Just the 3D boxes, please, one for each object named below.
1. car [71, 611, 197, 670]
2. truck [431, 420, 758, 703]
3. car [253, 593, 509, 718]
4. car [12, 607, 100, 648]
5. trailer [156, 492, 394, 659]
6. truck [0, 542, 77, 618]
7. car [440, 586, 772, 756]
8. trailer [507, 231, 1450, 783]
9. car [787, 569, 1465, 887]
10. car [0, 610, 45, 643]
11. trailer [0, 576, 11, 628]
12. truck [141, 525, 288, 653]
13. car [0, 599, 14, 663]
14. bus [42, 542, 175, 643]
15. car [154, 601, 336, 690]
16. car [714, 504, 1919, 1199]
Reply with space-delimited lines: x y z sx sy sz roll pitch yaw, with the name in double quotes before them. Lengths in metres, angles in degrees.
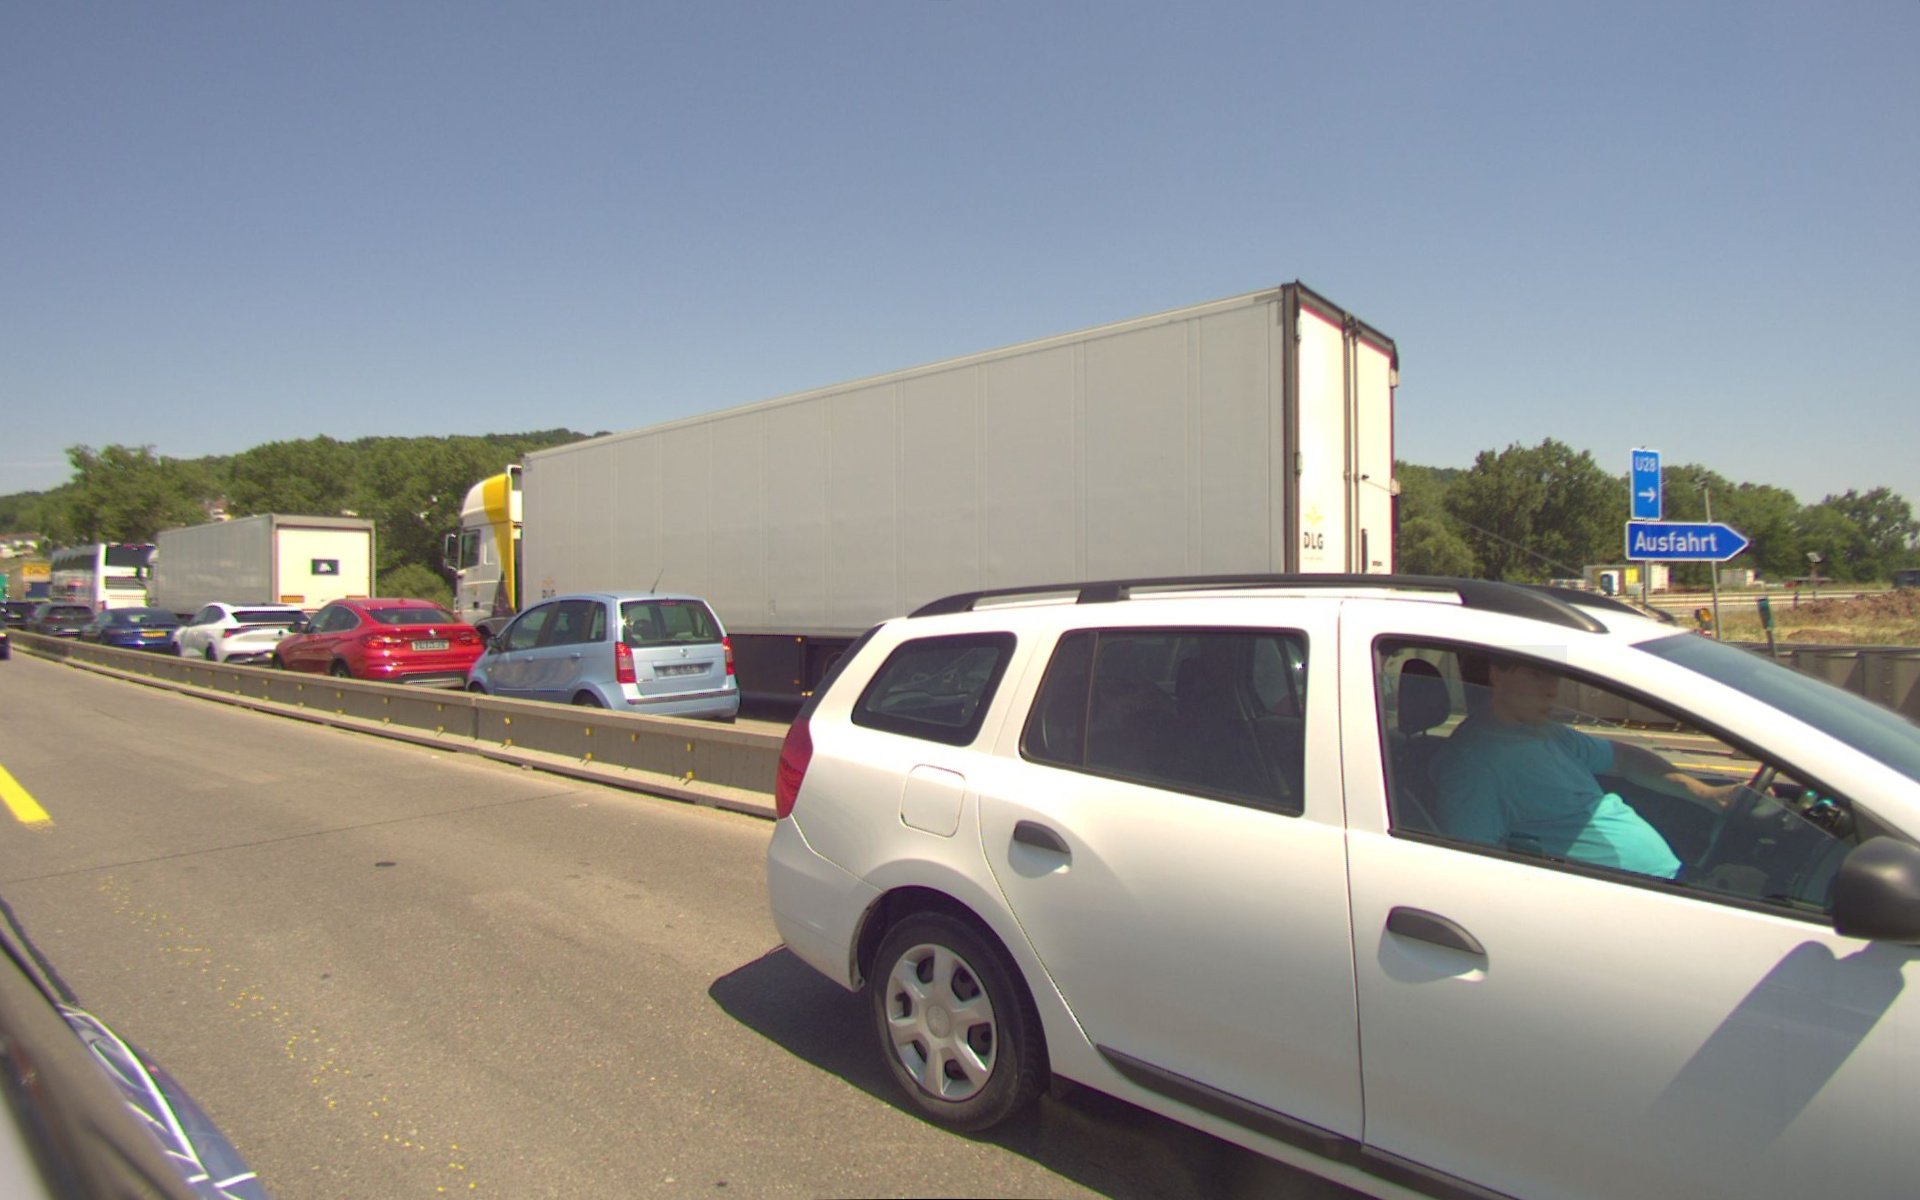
"car" -22.787 1.106 27.840 5.117 1.448 1.794 -2 0 41
"truck" -6.665 -0.535 18.112 5.868 4.216 2.948 -1 -1 40
"car" -9.209 0.817 15.921 4.754 1.643 1.973 -2 0 40
"car" -33.519 0.984 37.484 4.680 1.434 1.814 0 -1 40
"trailer" -22.576 -0.555 32.742 14.074 4.417 3.107 -1 -1 42
"truck" -59.556 -1.133 65.229 10.077 4.184 2.772 -3 -4 42
"car" -4.105 0.678 11.448 3.998 1.586 1.808 0 -1 41
"trailer" -1.381 -0.626 13.485 13.938 4.240 2.955 -1 -1 41
"car" 0.962 0.690 7.163 4.334 1.569 1.973 -2 -1 40
"car" -44.318 1.247 47.162 5.088 1.434 1.898 -1 0 41
"trailer" -87.645 0.224 90.660 13.165 4.464 2.785 -1 -2 42
"truck" -27.261 -0.291 36.881 6.701 4.230 3.064 -2 -1 42
"car" -27.317 0.836 27.512 4.094 1.705 1.839 -1 -2 40
"bus" -41.154 -0.295 48.597 14.468 4.296 2.711 0 -1 41
"car" -14.954 0.909 21.057 4.878 1.633 1.973 -2 -1 40
"car" 1.518 0.637 2.538 4.704 1.542 1.800 0 0 41
